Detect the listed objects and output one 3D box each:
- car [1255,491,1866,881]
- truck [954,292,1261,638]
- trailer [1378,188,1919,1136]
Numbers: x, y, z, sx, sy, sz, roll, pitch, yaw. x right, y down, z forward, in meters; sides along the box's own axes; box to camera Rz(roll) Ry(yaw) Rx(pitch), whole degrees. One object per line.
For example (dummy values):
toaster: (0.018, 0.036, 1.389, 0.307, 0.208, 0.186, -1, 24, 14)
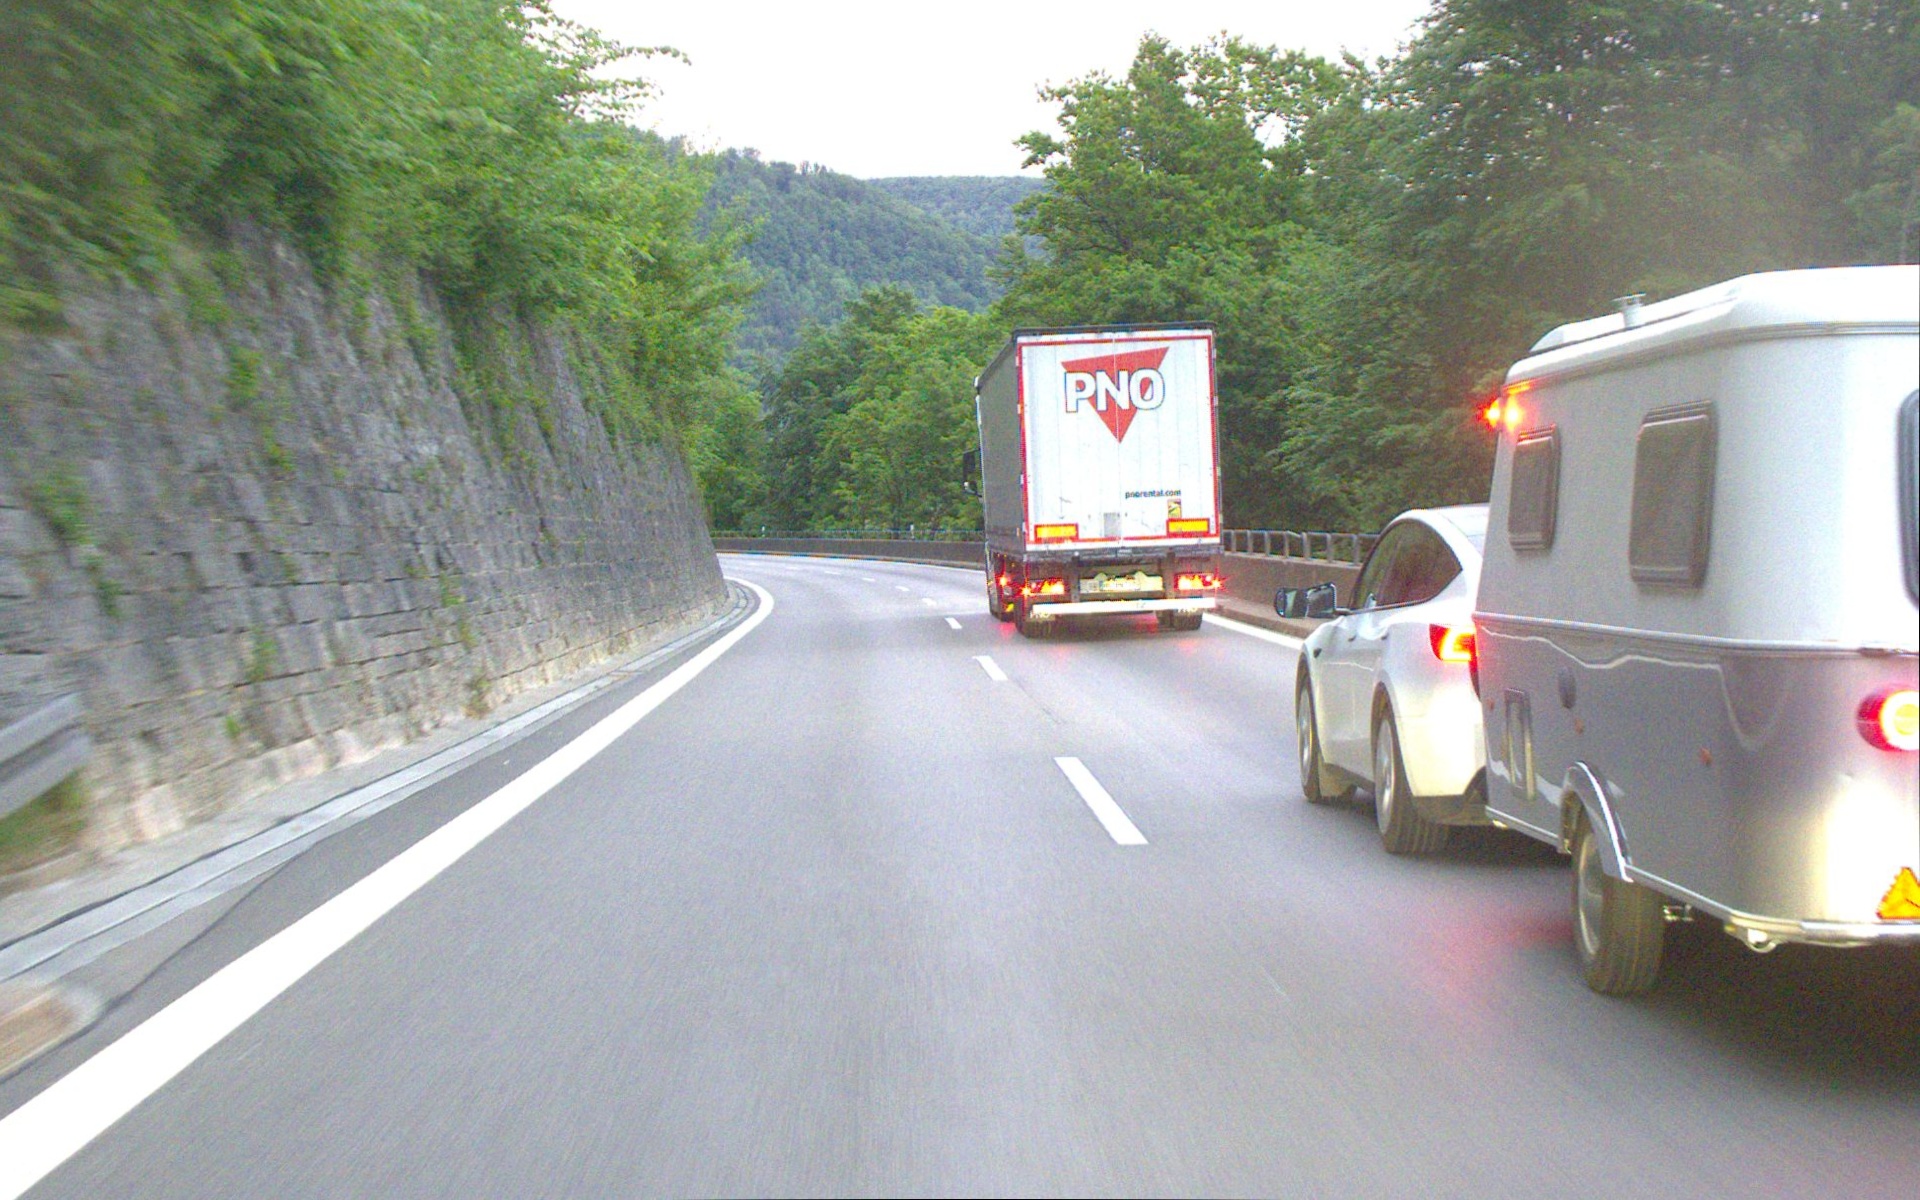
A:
car: (2.752, 0.322, 16.975, 1.993, 1.609, 4.865, -1, 1, -2)
truck: (1.820, -1.823, 50.870, 3.294, 4.158, 16.504, -2, 1, -1)
trailer: (2.891, 0.071, 11.606, 2.054, 2.367, 5.938, -2, 1, -1)
